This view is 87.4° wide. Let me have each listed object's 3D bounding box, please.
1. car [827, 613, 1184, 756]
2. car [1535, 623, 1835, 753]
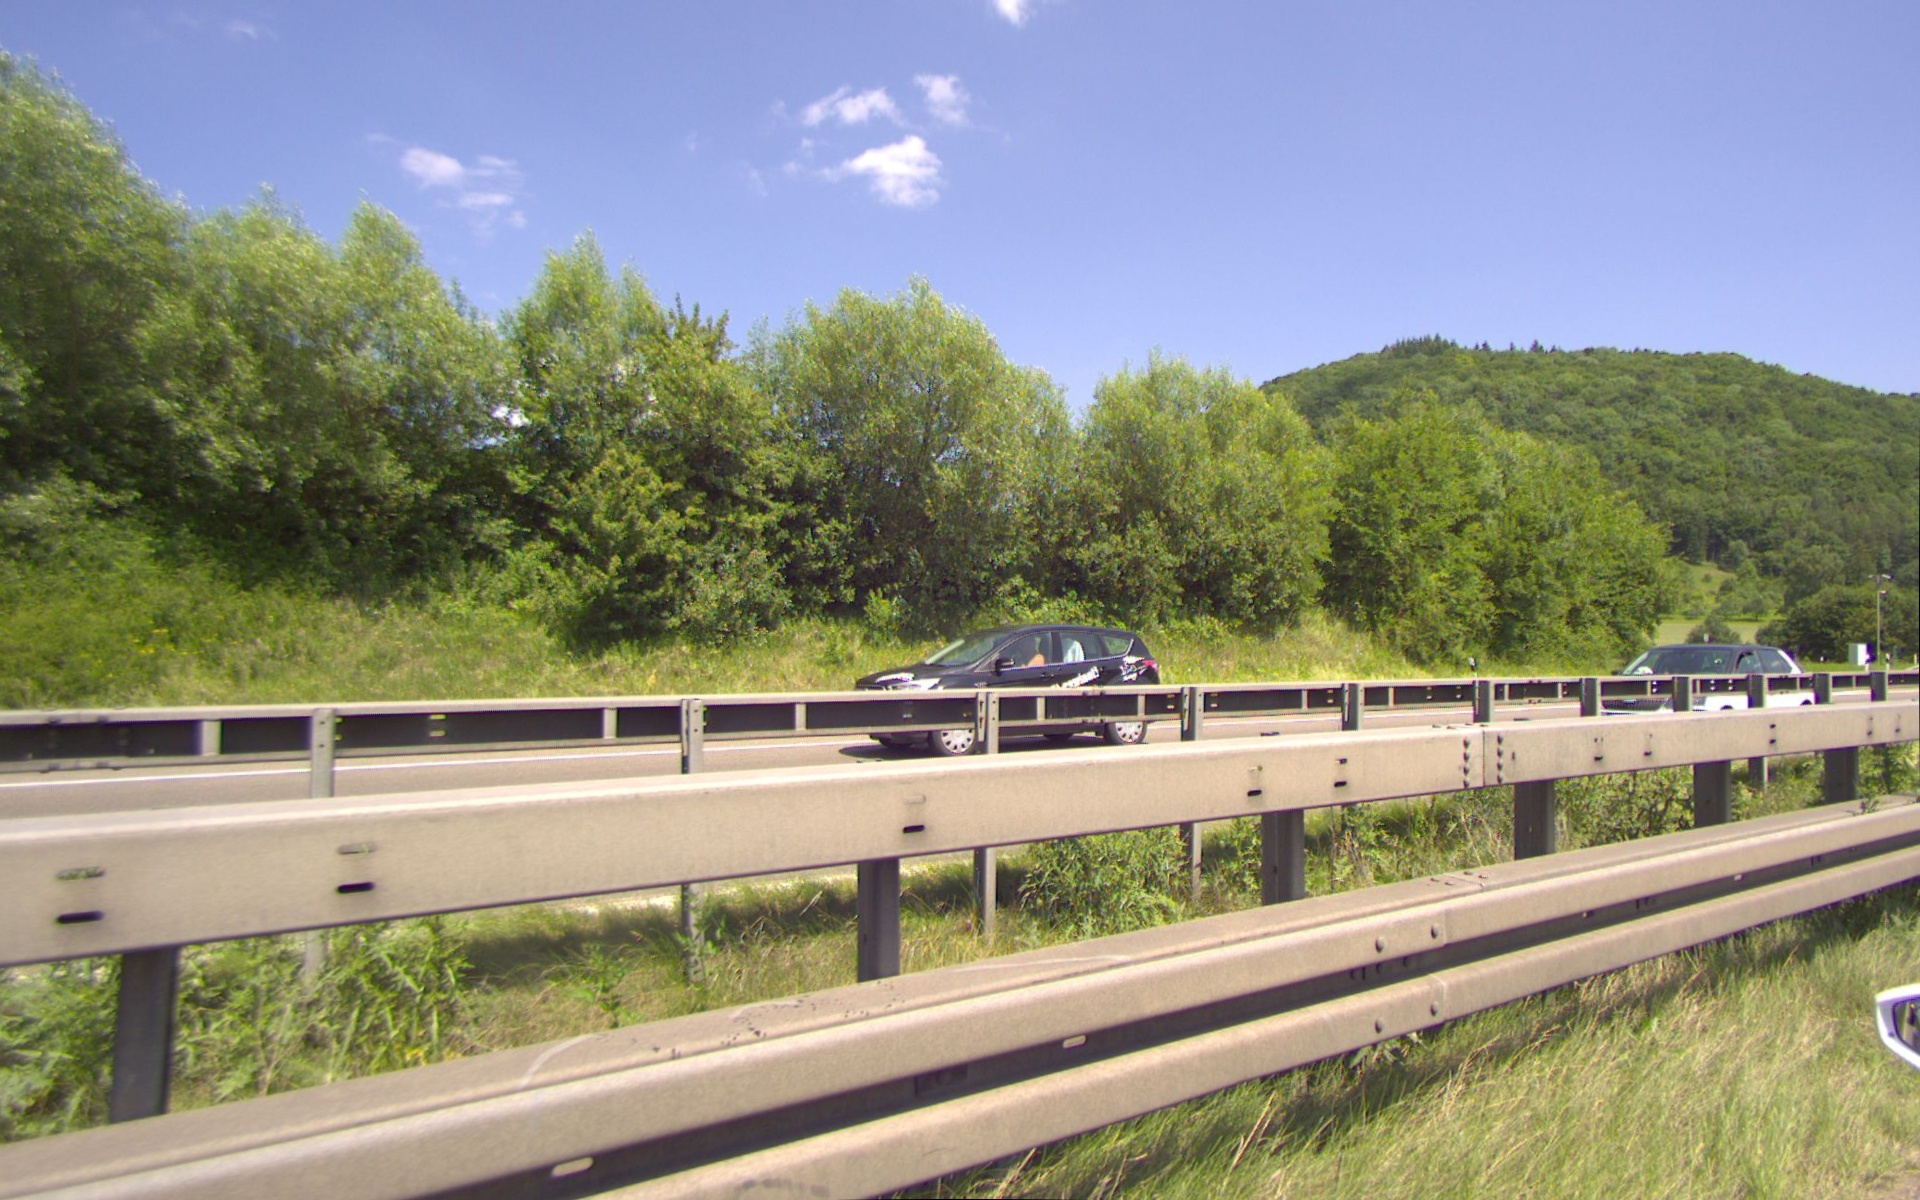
[{"bbox_3d":[0.660,1.089,13.504,4.507,1.642,1.914,2,-4,-30],"label":"car"},{"bbox_3d":[10.623,1.229,14.682,4.223,1.635,1.985,2,-4,-30],"label":"car"}]
